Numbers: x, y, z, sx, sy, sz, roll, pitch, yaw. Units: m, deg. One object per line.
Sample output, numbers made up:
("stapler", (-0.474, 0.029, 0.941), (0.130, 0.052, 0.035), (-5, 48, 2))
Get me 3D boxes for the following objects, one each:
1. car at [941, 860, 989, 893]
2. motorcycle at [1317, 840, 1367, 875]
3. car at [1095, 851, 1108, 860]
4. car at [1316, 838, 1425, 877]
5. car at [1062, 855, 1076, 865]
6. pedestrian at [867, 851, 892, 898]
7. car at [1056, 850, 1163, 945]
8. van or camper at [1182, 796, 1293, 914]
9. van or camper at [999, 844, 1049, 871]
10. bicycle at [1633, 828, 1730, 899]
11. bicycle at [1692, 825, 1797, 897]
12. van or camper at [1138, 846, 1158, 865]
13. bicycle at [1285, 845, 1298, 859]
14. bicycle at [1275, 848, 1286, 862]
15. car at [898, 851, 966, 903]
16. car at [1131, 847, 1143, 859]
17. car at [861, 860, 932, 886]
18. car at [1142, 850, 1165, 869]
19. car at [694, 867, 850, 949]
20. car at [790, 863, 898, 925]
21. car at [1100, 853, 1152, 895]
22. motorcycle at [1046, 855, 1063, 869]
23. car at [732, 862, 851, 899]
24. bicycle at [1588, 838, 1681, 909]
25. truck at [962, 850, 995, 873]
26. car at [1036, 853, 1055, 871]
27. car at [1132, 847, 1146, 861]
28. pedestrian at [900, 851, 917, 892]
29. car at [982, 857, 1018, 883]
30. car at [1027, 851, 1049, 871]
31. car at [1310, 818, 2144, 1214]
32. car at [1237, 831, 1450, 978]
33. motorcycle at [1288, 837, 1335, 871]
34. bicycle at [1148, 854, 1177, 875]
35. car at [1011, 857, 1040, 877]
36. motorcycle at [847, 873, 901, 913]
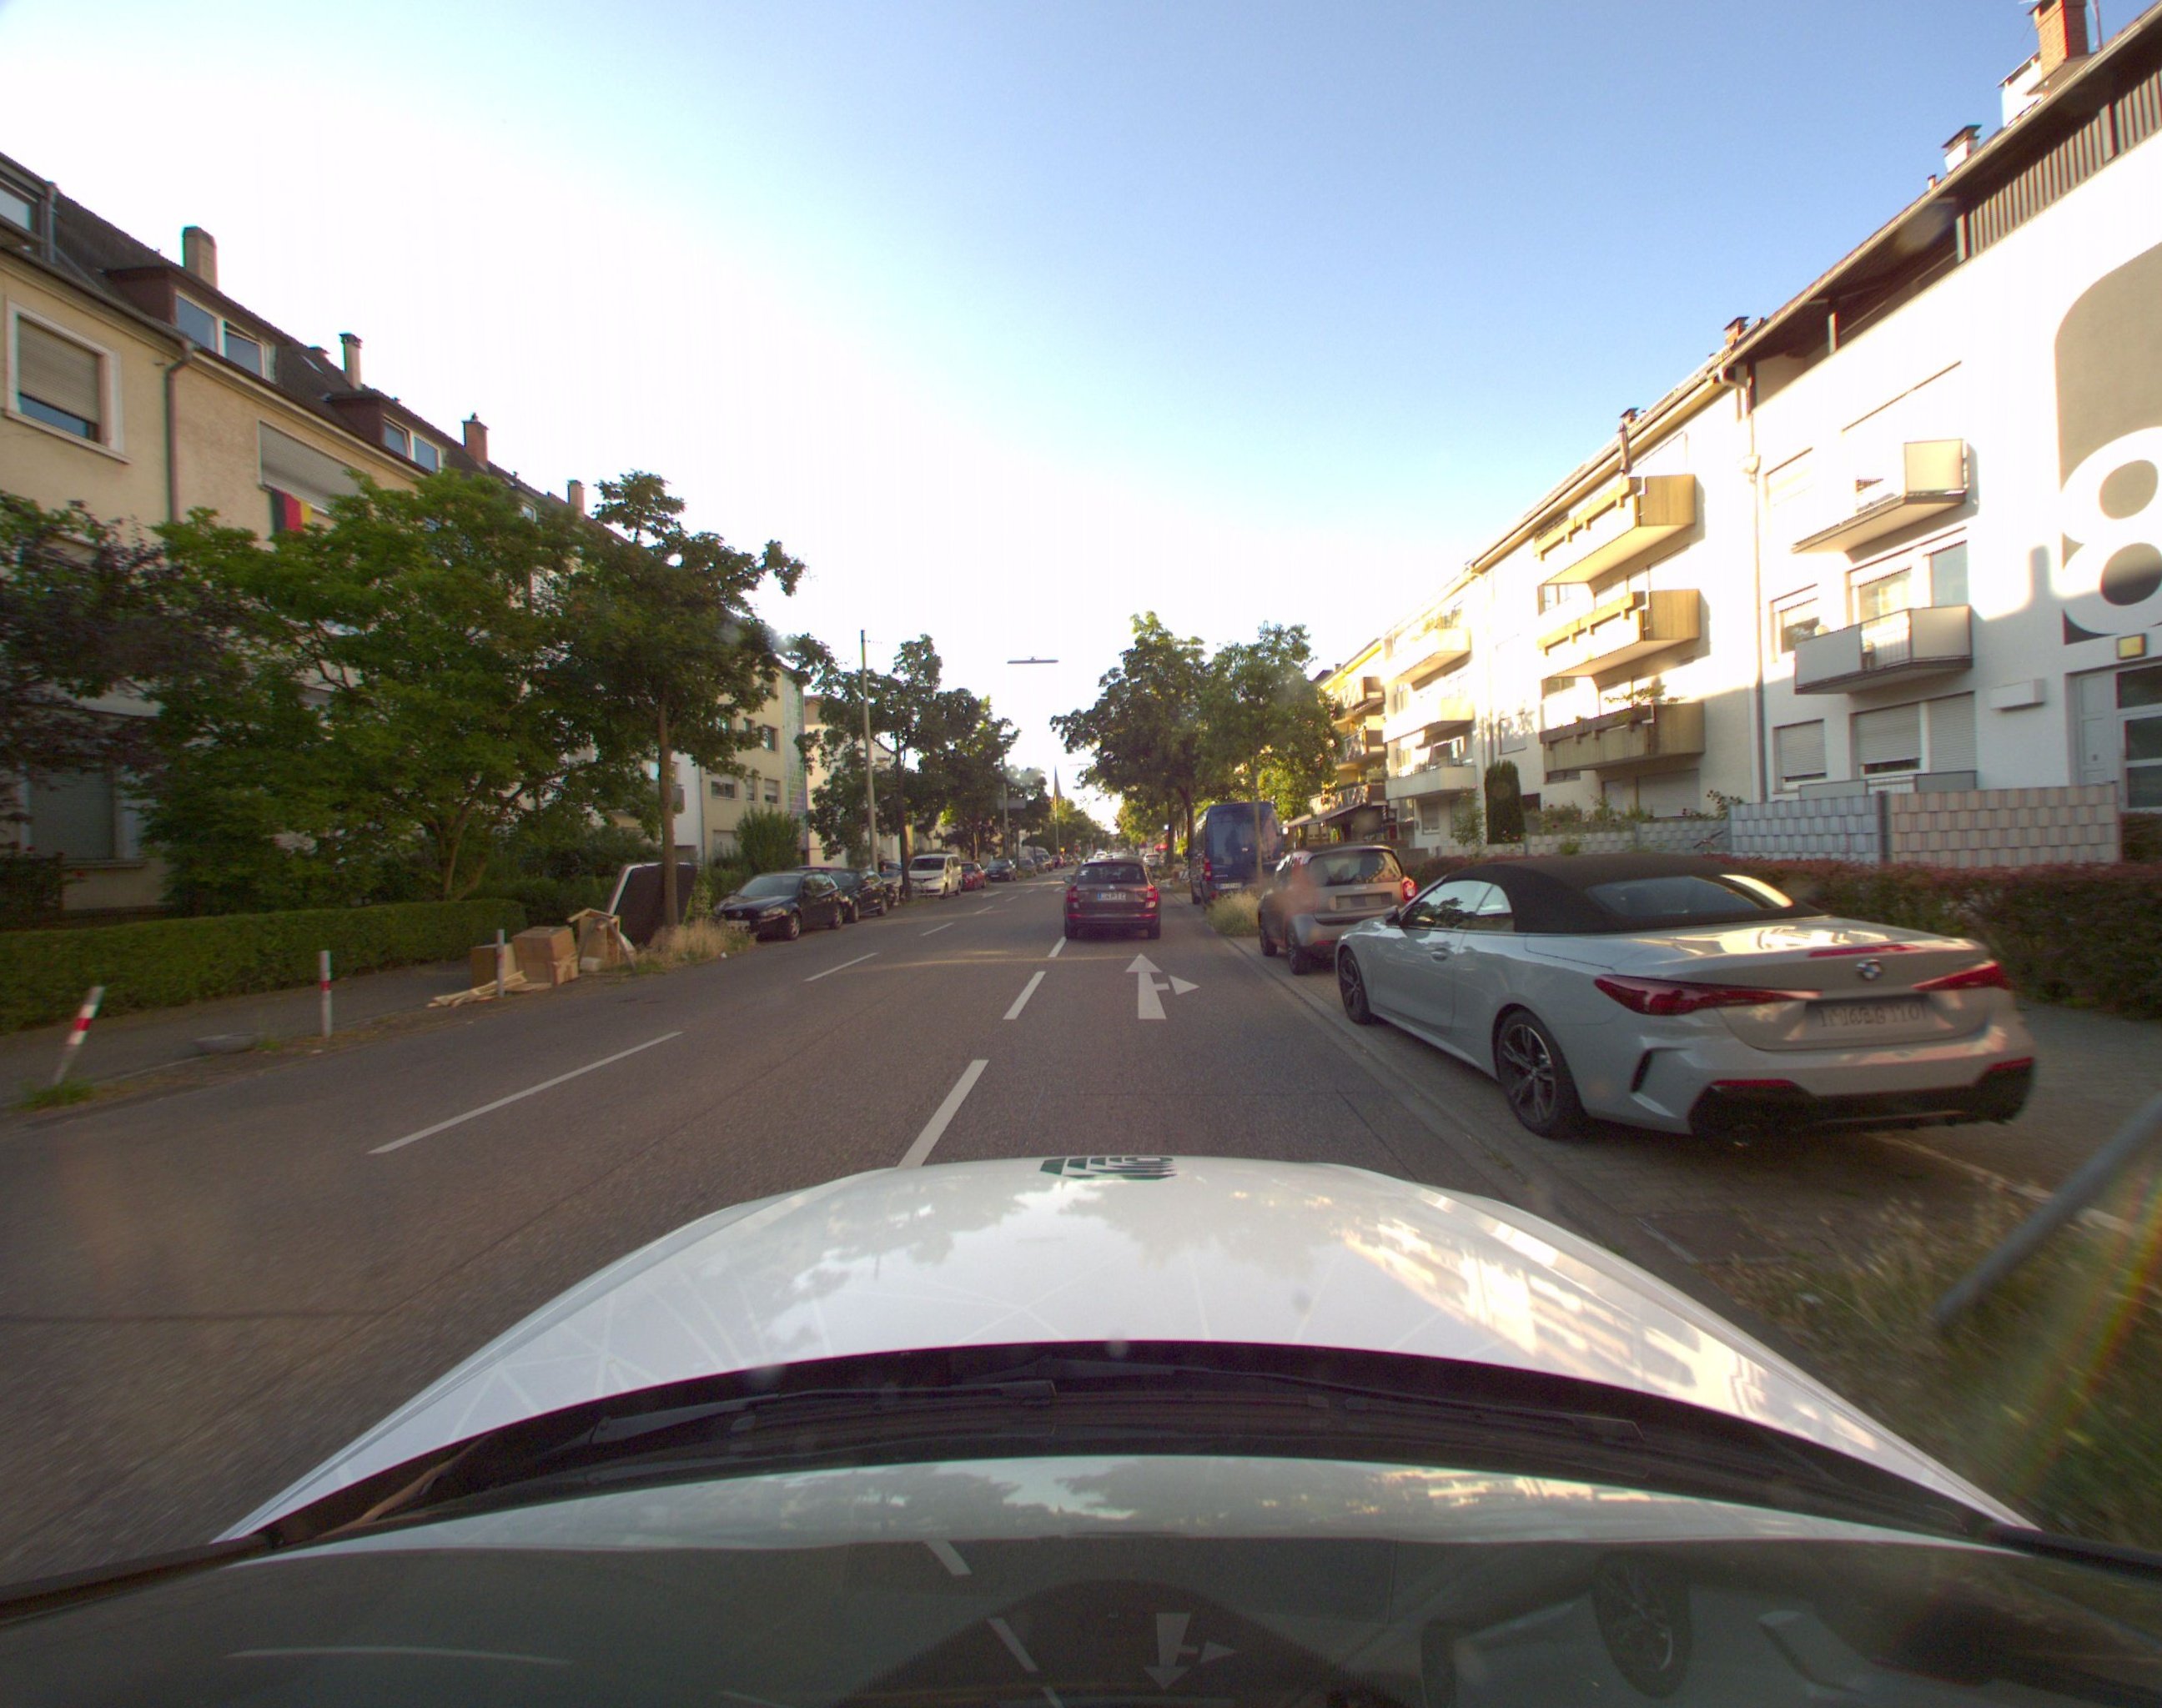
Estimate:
("car", (-5.845, 1.109, 41.430), (1.710, 1.421, 3.789), (-2, 0, 3))
("motorcycle", (12.968, 0.170, 40.499), (2.181, 1.621, 0.892), (-2, 0, 9))
("car", (4.077, 0.304, 161.729), (1.865, 1.757, 4.191), (-2, 0, 10))
("car", (12.270, 0.141, 34.648), (3.975, 1.462, 1.824), (-2, 0, -1))
("car", (-1.746, 0.896, 119.453), (1.657, 1.432, 3.277), (-2, 0, 3))
("pedestrian", (-8.913, 0.905, 36.113), (0.764, 2.013, 0.976), (-2, 0, 2))
("car", (0.615, 0.718, 15.588), (1.722, 1.493, 3.955), (-2, 0, 4))
("van or camper", (4.026, 0.048, 22.077), (2.059, 2.675, 5.994), (-2, 0, 3))
("van or camper", (-8.999, 0.544, 129.489), (7.614, 3.874, 2.000), (-2, 0, 0))
("bicycle", (9.875, 0.134, 13.451), (0.490, 1.089, 1.545), (-2, 0, 2))
("bicycle", (10.828, 0.096, 13.352), (0.490, 1.089, 1.545), (-2, 0, 2))
("van or camper", (7.506, 0.146, 91.596), (1.985, 2.013, 4.003), (-2, 0, 3))
("bicycle", (14.599, -0.129, 56.436), (0.341, 0.950, 1.580), (-4, 0, -3))
("bicycle", (13.979, 0.078, 57.058), (0.341, 0.950, 1.580), (0, 0, -3))
("car", (-6.193, 0.903, 34.381), (1.762, 1.919, 4.463), (-2, 0, 3))
("car", (8.776, -0.179, 127.389), (1.723, 1.815, 3.952), (-2, 0, 1))
("car", (-11.432, 1.165, 50.641), (3.975, 1.479, 1.999), (-1, 0, -1))
("car", (5.975, 0.452, 67.549), (1.812, 1.413, 4.117), (-2, 0, 5))
("car", (-6.919, 1.137, 18.747), (1.743, 1.502, 4.200), (-2, 0, 3))
("car", (-6.755, 1.085, 23.693), (1.743, 1.502, 3.981), (-2, 0, 3))
("car", (1.734, 0.744, 32.355), (1.724, 1.493, 3.949), (-2, 0, -1))
("motorcycle", (-3.014, 0.883, 92.926), (0.771, 1.512, 2.006), (-3, 0, -40))
("car", (-12.934, 1.161, 36.699), (4.712, 1.362, 1.993), (-2, 0, -11))
("bicycle", (9.033, 0.291, 13.363), (0.490, 1.089, 1.545), (-2, 0, 2))
("truck", (-9.975, 0.728, 79.710), (2.902, 2.093, 1.547), (-2, 0, 2))
("car", (-3.588, 0.777, 82.692), (1.501, 1.757, 3.696), (-2, 0, 3))
("car", (8.205, -0.042, 114.900), (1.723, 1.815, 3.952), (-2, 0, 1))
("pedestrian", (-8.706, 0.867, 41.063), (0.624, 2.013, 0.616), (-2, 0, 2))
("car", (-5.272, 1.044, 53.385), (1.710, 1.497, 4.251), (-2, 0, 3))
("car", (-4.097, 0.644, 78.038), (1.743, 1.740, 3.593), (-2, 0, 3))
("car", (3.246, 0.615, 5.603), (1.914, 1.486, 4.744), (-2, 0, -1))
("car", (3.417, 0.601, 11.370), (1.766, 1.642, 3.758), (-2, 0, 1))
("motorcycle", (11.739, -0.005, 41.529), (2.181, 1.621, 0.733), (-2, 0, 9))
("bicycle", (5.229, 0.682, 51.967), (1.658, 1.226, 0.638), (-5, 0, 15))
("car", (-4.411, 1.017, 65.275), (1.747, 1.420, 4.430), (-2, 0, 3))
("motorcycle", (-6.778, 1.273, 26.740), (0.436, 1.192, 1.718), (-2, 0, 40))
